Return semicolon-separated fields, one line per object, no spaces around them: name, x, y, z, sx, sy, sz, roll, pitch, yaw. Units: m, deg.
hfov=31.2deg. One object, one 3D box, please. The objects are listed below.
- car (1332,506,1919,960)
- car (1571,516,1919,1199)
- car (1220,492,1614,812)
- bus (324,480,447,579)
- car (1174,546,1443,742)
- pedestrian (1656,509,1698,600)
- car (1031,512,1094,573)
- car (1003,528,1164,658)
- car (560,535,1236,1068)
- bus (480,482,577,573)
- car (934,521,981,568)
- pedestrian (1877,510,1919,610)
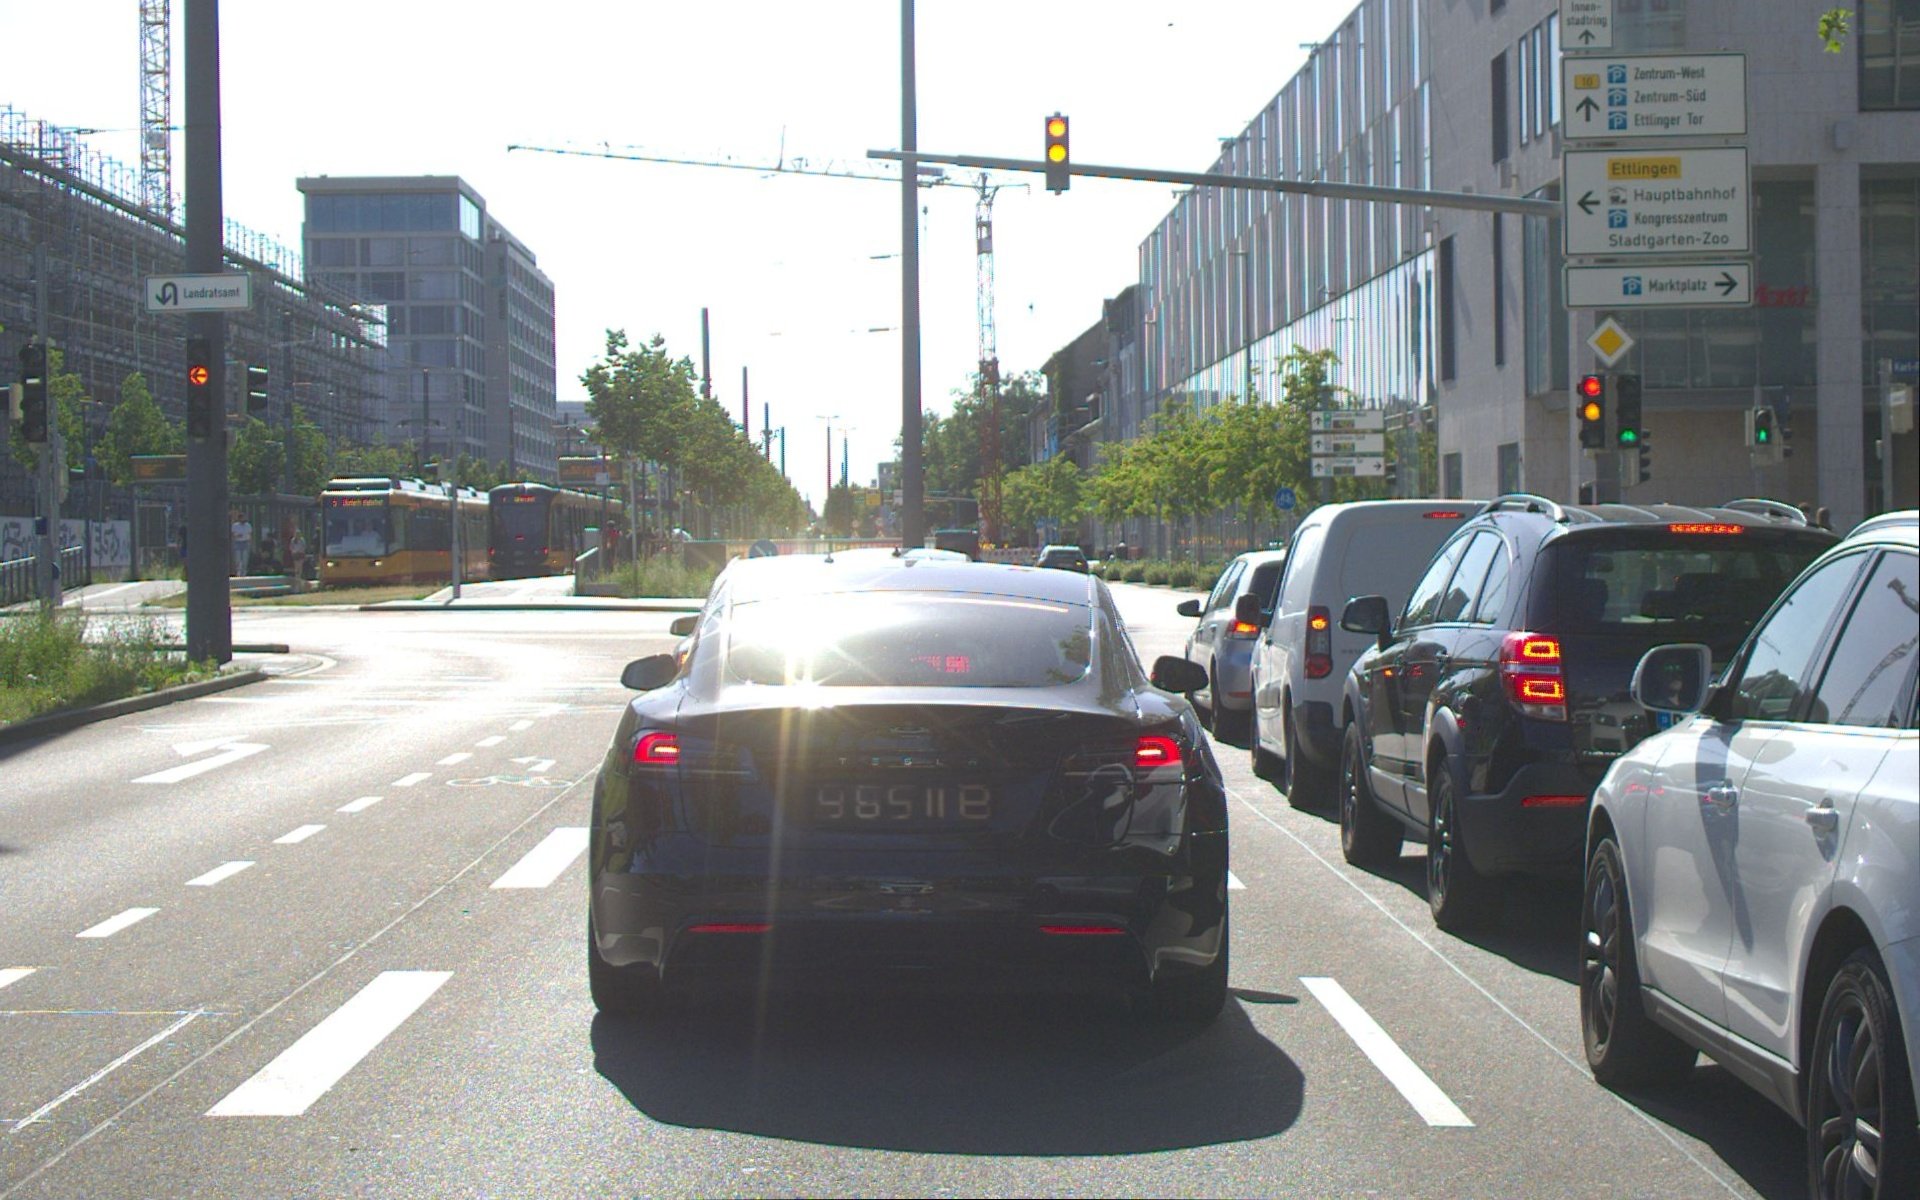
car;2.721;0.436;14.656;1.721;1.647;4.187;0;1;-1
car;2.642;0.609;8.059;1.721;1.612;4.186;0;1;1
car;2.717;0.242;21.315;1.721;1.776;4.187;0;1;-2
bus;-17.058;-2.041;102.525;2.627;2.773;8.845;1;0;-3
car;2.743;0.295;27.842;1.721;1.427;4.186;0;1;0
pedestrian;11.425;-0.718;54.783;0.562;1.435;0.631;1;0;6
car;3.557;-1.989;119.922;1.993;2.007;4.000;1;0;-1
car;1.412;-0.122;40.663;1.721;1.427;4.186;0;1;0
car;-0.231;0.535;11.776;1.912;1.481;4.010;0;1;-2
bus;-14.853;-2.446;118.901;2.627;2.949;9.900;1;0;-3
car;-0.105;-2.452;152.947;1.993;2.007;4.000;1;0;-1
pedestrian;13.728;-0.577;50.112;0.562;1.435;0.631;1;0;6
